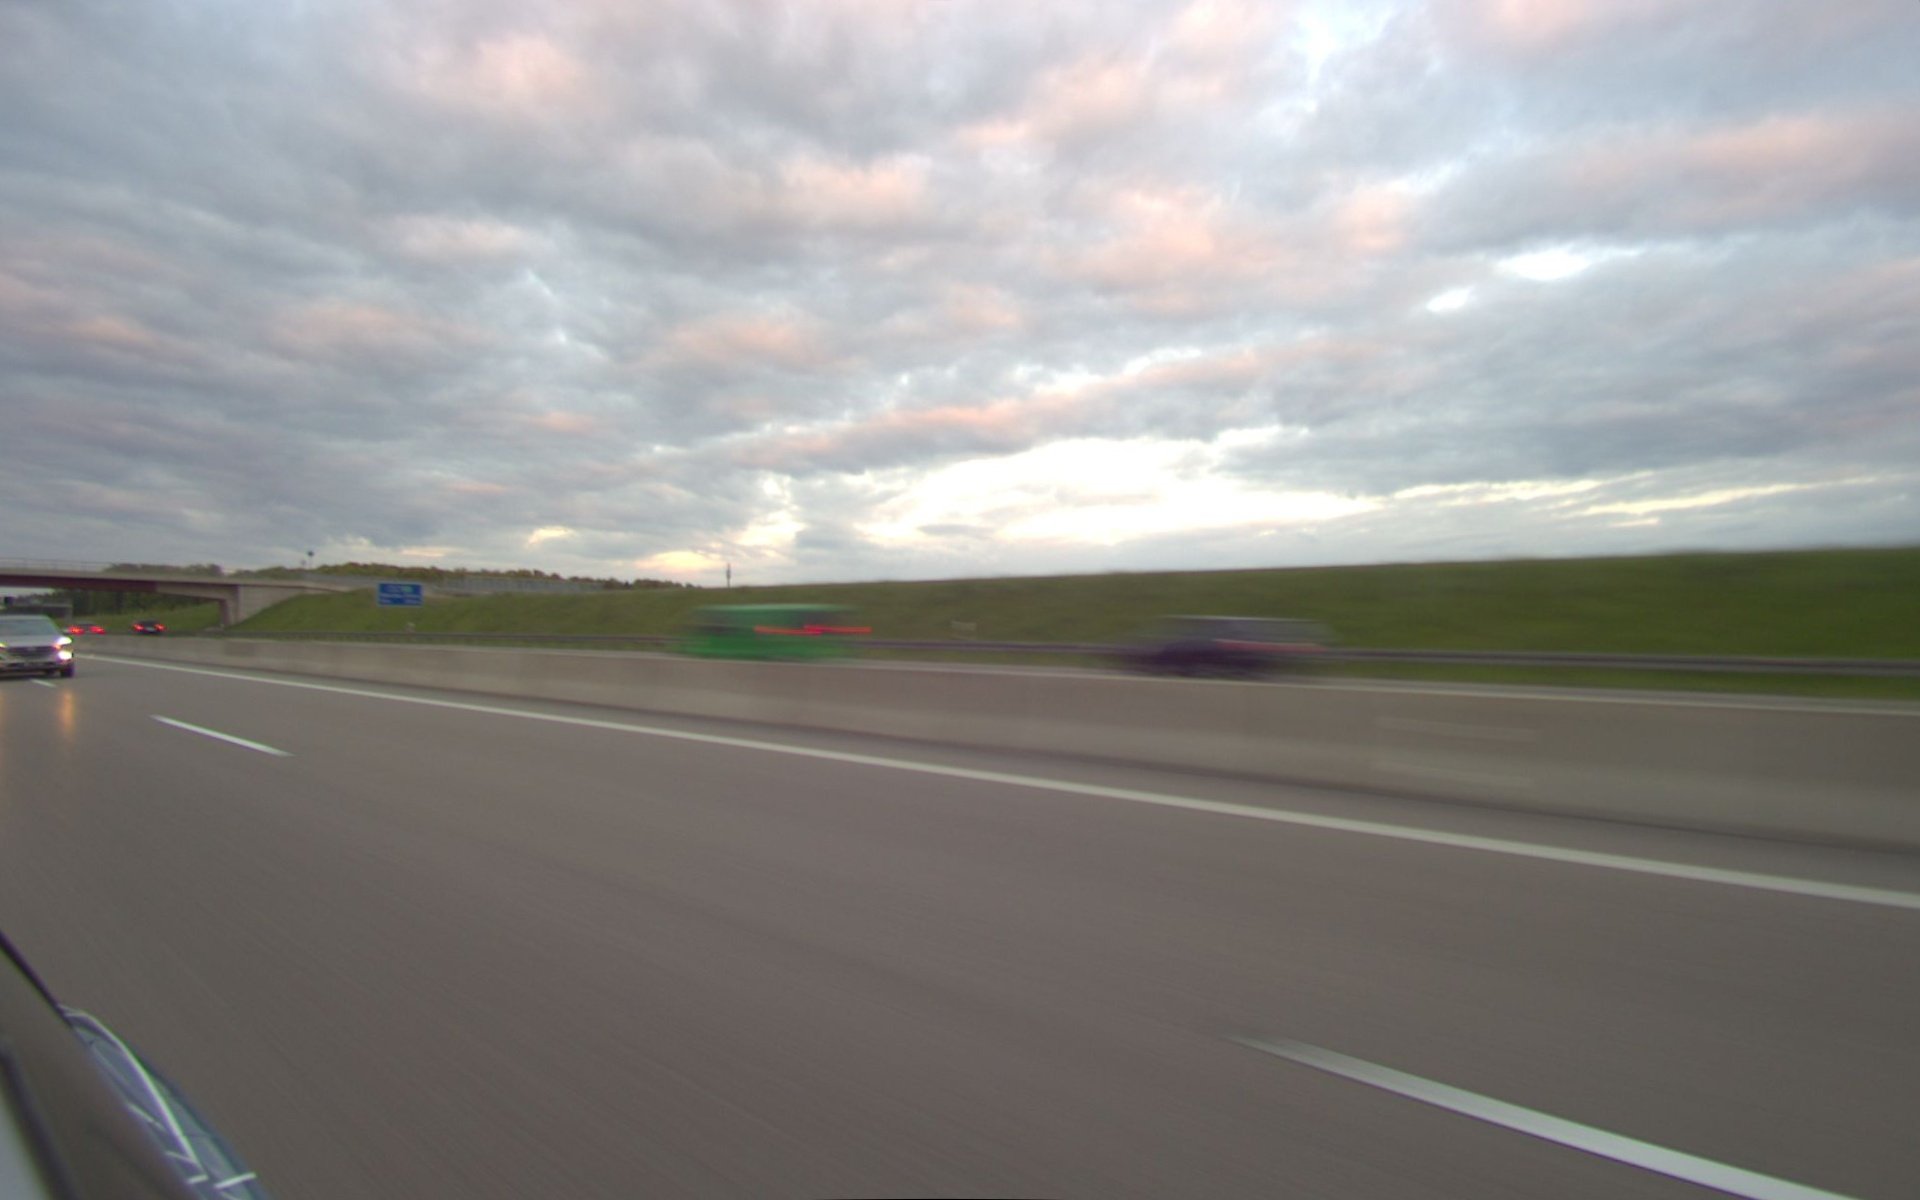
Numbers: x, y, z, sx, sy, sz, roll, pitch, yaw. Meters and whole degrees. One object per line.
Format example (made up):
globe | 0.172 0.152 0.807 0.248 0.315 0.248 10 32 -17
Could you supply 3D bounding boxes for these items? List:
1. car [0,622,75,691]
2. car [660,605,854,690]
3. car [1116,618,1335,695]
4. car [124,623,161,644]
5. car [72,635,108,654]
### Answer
car | -25.467 1.448 27.216 5.510 1.705 1.833 -1 -1 42
car | -5.463 1.215 26.736 5.734 2.029 1.982 -2 -2 41
car | 5.759 1.192 22.327 4.424 1.529 1.613 -2 -1 41
car | -79.204 3.231 98.065 5.088 1.951 1.973 -2 -1 42
car | -71.933 3.649 83.664 4.672 1.446 1.791 -2 -2 44
